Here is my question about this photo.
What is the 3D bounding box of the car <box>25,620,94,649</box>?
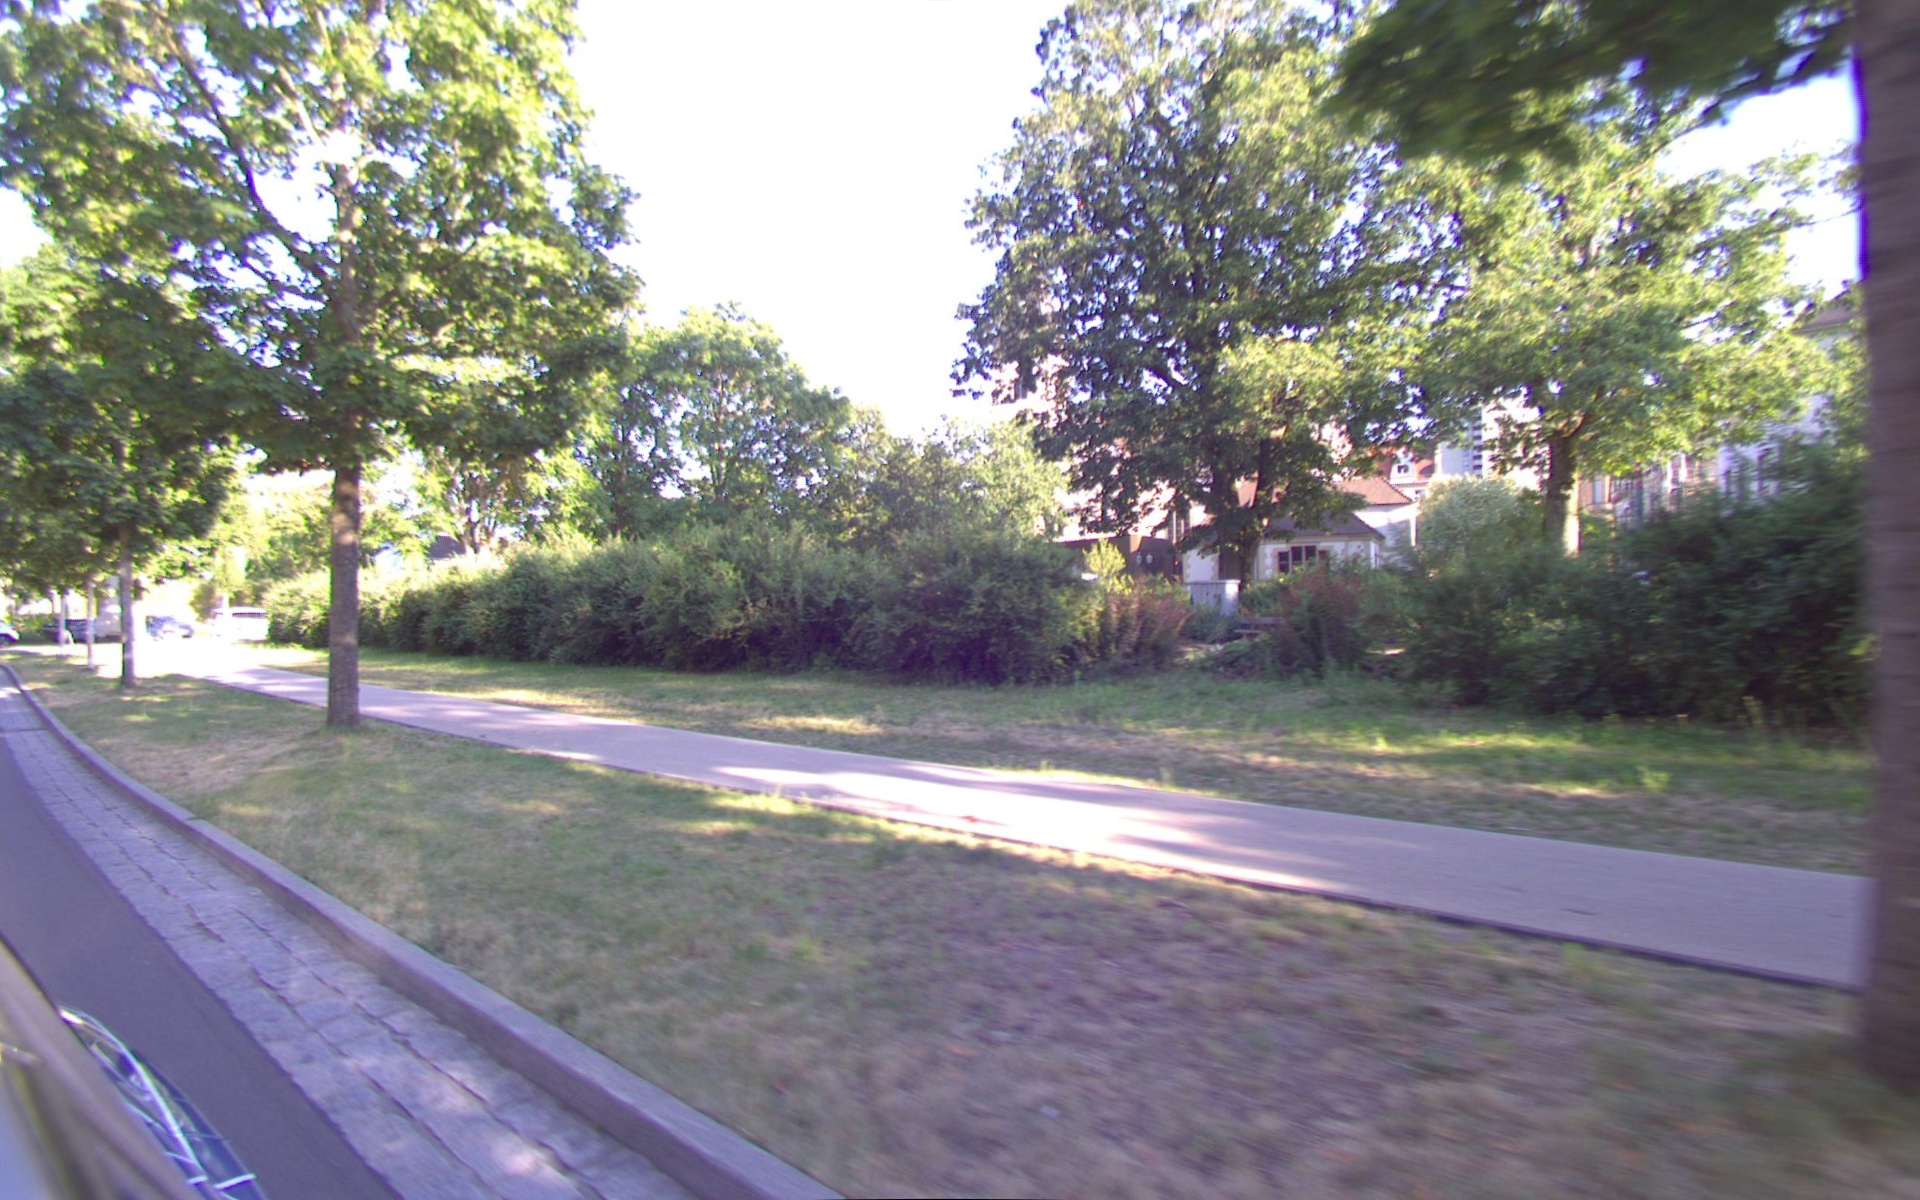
[{"bbox_3d":[-52.621,1.972,59.135,3.978,1.527,1.631,1,1,25],"label":"car"}]

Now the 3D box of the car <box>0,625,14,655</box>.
[{"bbox_3d":[-51.448,2.107,51.641,1.775,1.546,4.304,-3,-1,29],"label":"car"}]

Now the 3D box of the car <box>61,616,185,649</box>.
[{"bbox_3d":[-44.561,1.715,53.998,1.858,1.570,4.794,-2,0,27],"label":"car"}]

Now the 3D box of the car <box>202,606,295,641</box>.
[{"bbox_3d":[-41.923,1.342,59.719,1.754,1.931,4.200,-2,0,27],"label":"car"}]
